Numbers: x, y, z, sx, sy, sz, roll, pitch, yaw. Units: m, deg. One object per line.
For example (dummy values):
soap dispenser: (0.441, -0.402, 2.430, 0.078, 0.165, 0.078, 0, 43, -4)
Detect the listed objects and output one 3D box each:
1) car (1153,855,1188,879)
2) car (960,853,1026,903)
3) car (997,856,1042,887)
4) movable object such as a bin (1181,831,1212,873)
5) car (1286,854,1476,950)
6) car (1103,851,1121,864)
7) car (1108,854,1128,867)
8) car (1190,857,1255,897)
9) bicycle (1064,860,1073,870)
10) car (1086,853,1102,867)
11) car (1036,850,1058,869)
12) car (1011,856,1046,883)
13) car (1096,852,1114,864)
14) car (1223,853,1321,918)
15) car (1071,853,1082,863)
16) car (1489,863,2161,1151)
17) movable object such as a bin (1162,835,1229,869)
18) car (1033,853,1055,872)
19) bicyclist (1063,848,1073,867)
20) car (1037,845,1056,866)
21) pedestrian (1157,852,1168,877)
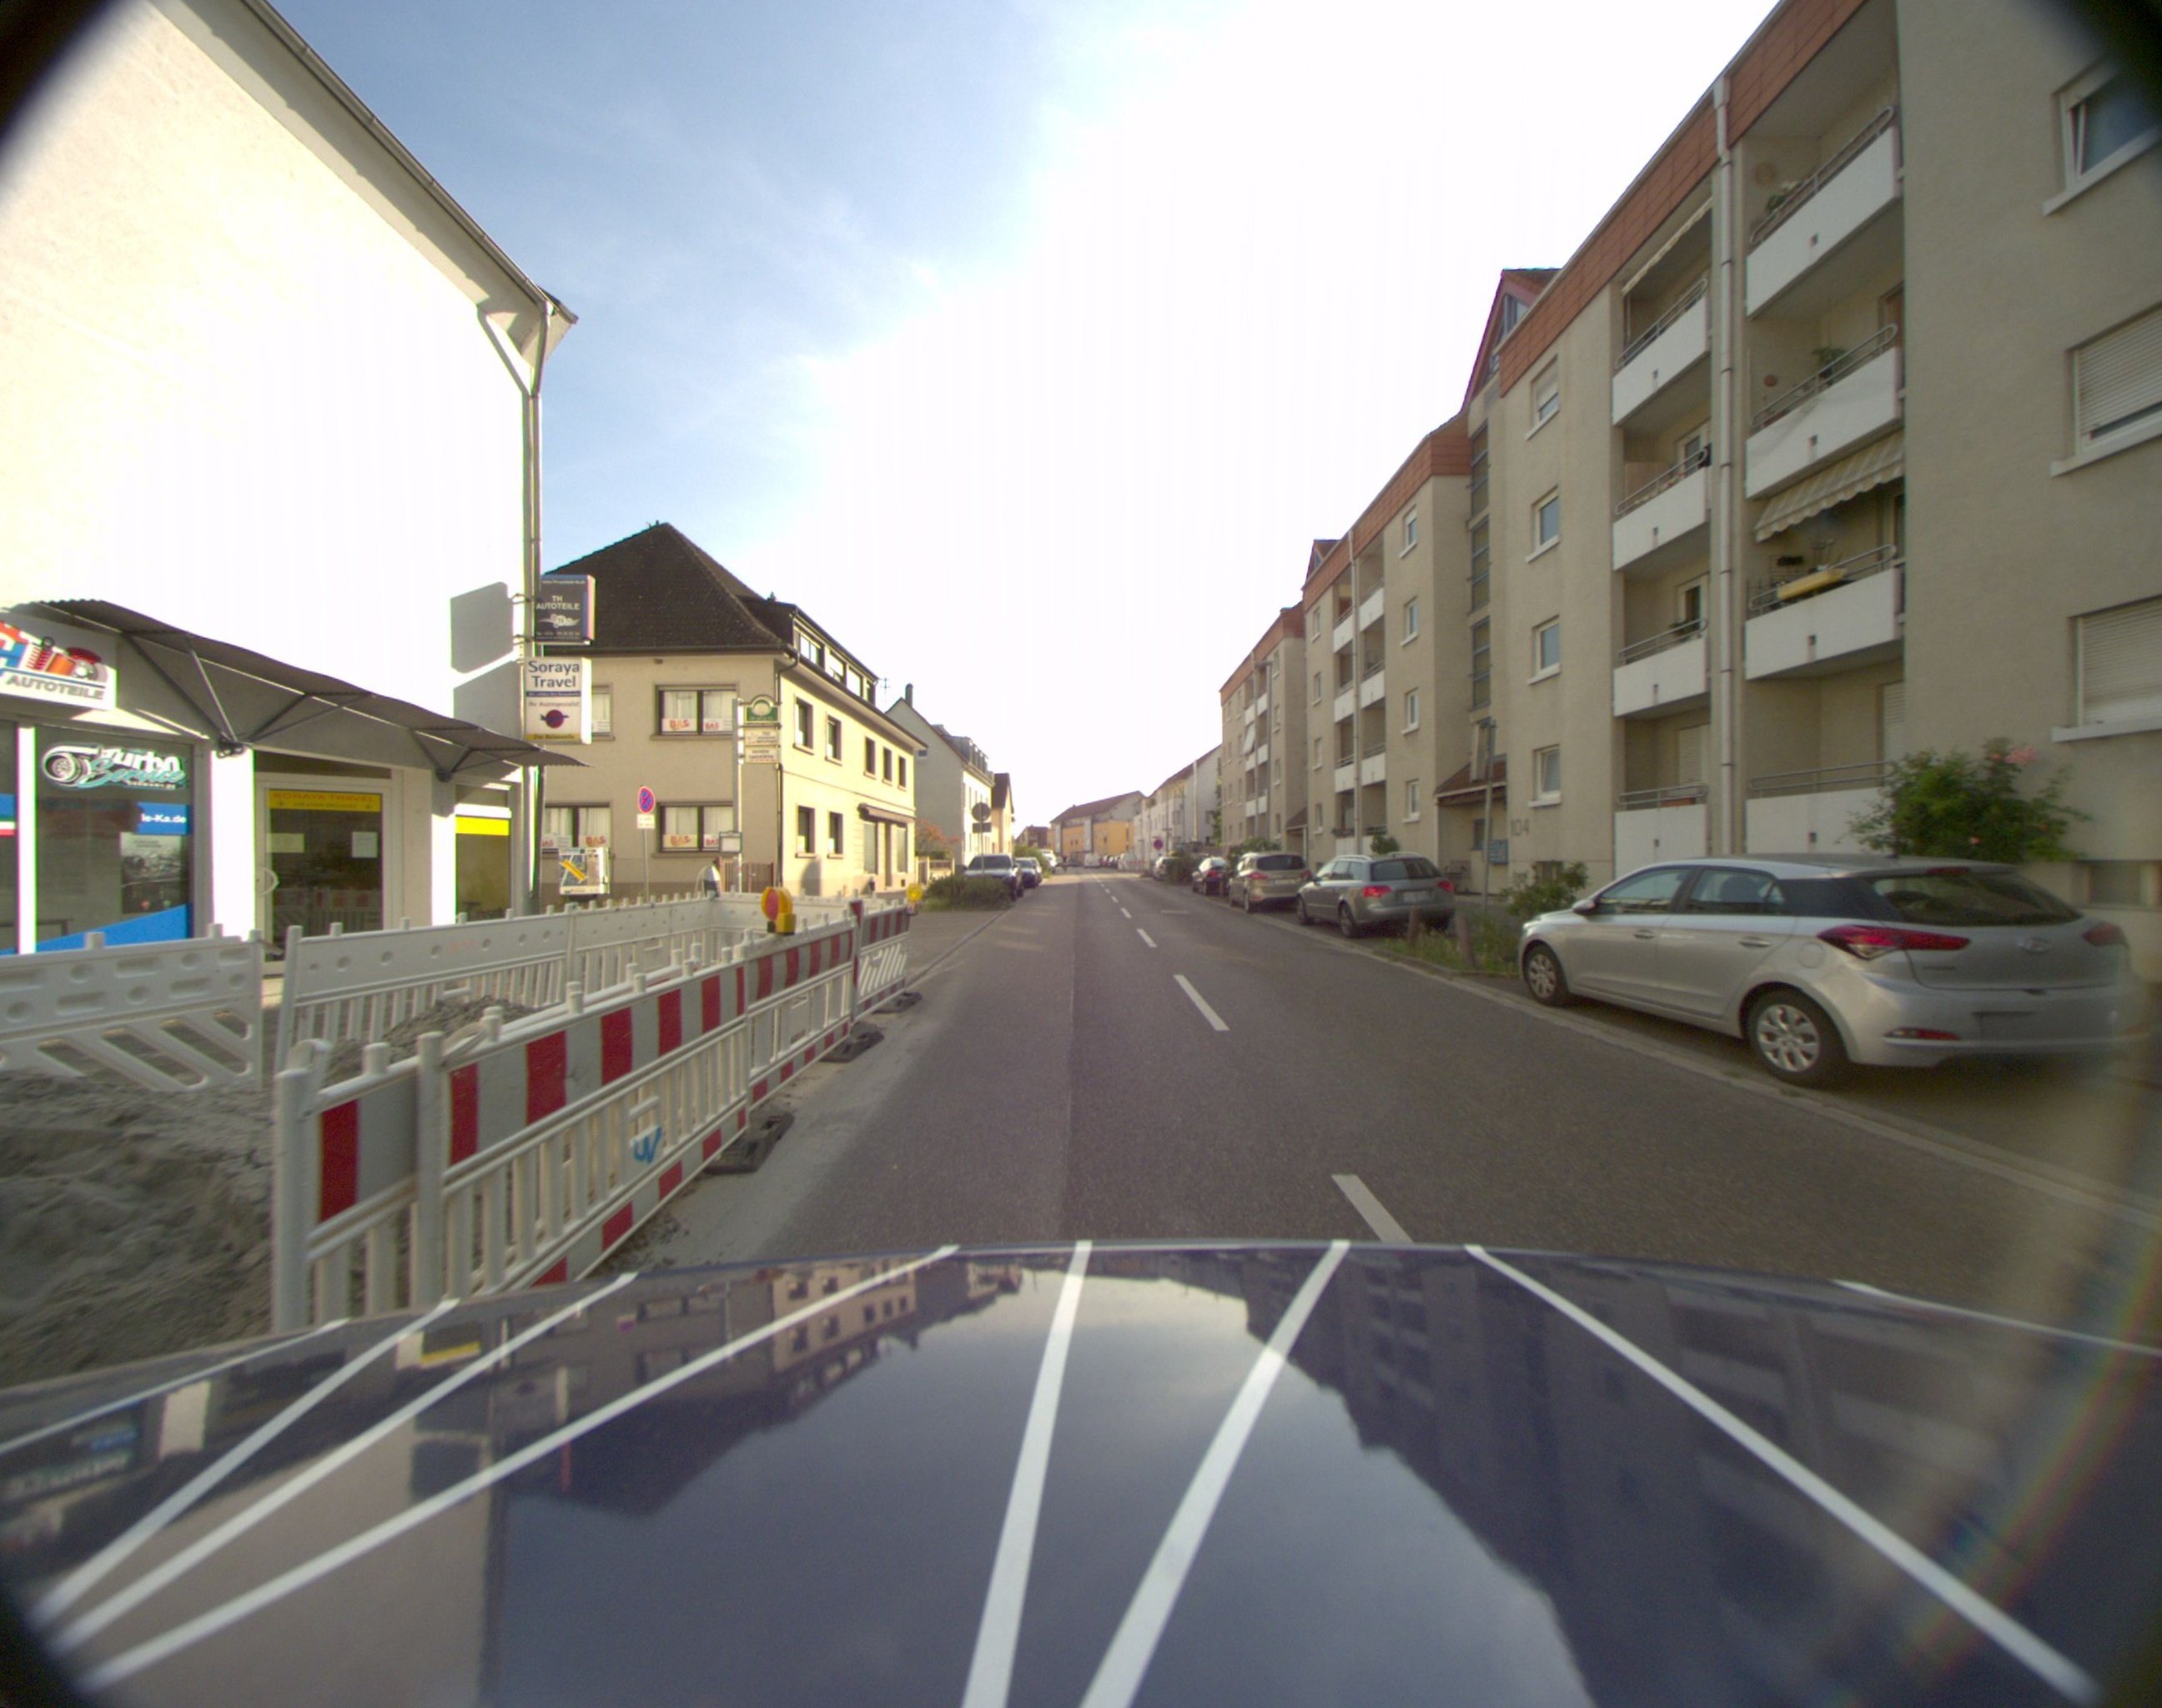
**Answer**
car: (5.563, 0.773, 47.508, 1.645, 1.387, 3.671, -1, 0, -2)
car: (-3.026, 0.765, 26.981, 1.834, 1.620, 4.463, 0, 0, 0)
car: (-2.978, 0.811, 37.567, 1.834, 1.412, 4.608, 0, 0, 0)
movable object such as a bin: (8.762, -0.139, 58.051, 1.652, 3.120, 3.900, 0, 0, -2)
car: (5.475, 0.777, 14.548, 1.812, 1.512, 4.370, -1, 0, -2)
car: (4.081, 0.482, 101.301, 1.733, 1.612, 4.260, 0, 0, -8)
car: (4.601, 0.776, 95.556, 1.733, 1.469, 4.260, -3, 0, -8)
car: (5.366, 0.826, 29.259, 1.690, 1.397, 4.083, -1, 0, -1)
bicycle: (-1.171, 1.026, 69.372, 0.680, 0.849, 2.026, -1, 0, -4)
car: (1.606, 0.757, 95.687, 1.927, 1.756, 4.337, 0, 0, -1)
car: (-3.016, 0.482, 69.007, 1.817, 1.674, 4.476, 1, 0, 0)
car: (-2.976, 0.855, 43.905, 1.784, 1.412, 4.495, -1, 0, -1)
car: (3.299, 0.576, 106.258, 1.733, 1.469, 4.500, -2, 0, -8)
car: (5.111, 0.790, 20.825, 1.731, 1.546, 3.965, -2, 0, 2)
car: (-0.759, 0.636, 117.038, 1.622, 1.446, 3.684, 0, 0, -2)
car: (5.255, 0.840, 6.112, 1.690, 1.446, 4.140, -1, 0, 0)
movable object such as a bin: (10.341, -0.143, 68.600, 5.516, 2.883, 2.110, -1, 0, -12)
car: (-3.063, 0.690, 63.712, 1.593, 1.519, 4.613, 1, 0, 0)
bicyclist: (-1.191, 0.342, 69.502, 0.845, 1.680, 0.877, -1, 1, -4)
car: (-4.007, 0.179, 88.508, 2.180, 2.313, 4.996, 1, 0, -3)
pedestrian: (5.982, 0.743, 55.874, 0.720, 1.808, 0.745, -1, 0, 0)
